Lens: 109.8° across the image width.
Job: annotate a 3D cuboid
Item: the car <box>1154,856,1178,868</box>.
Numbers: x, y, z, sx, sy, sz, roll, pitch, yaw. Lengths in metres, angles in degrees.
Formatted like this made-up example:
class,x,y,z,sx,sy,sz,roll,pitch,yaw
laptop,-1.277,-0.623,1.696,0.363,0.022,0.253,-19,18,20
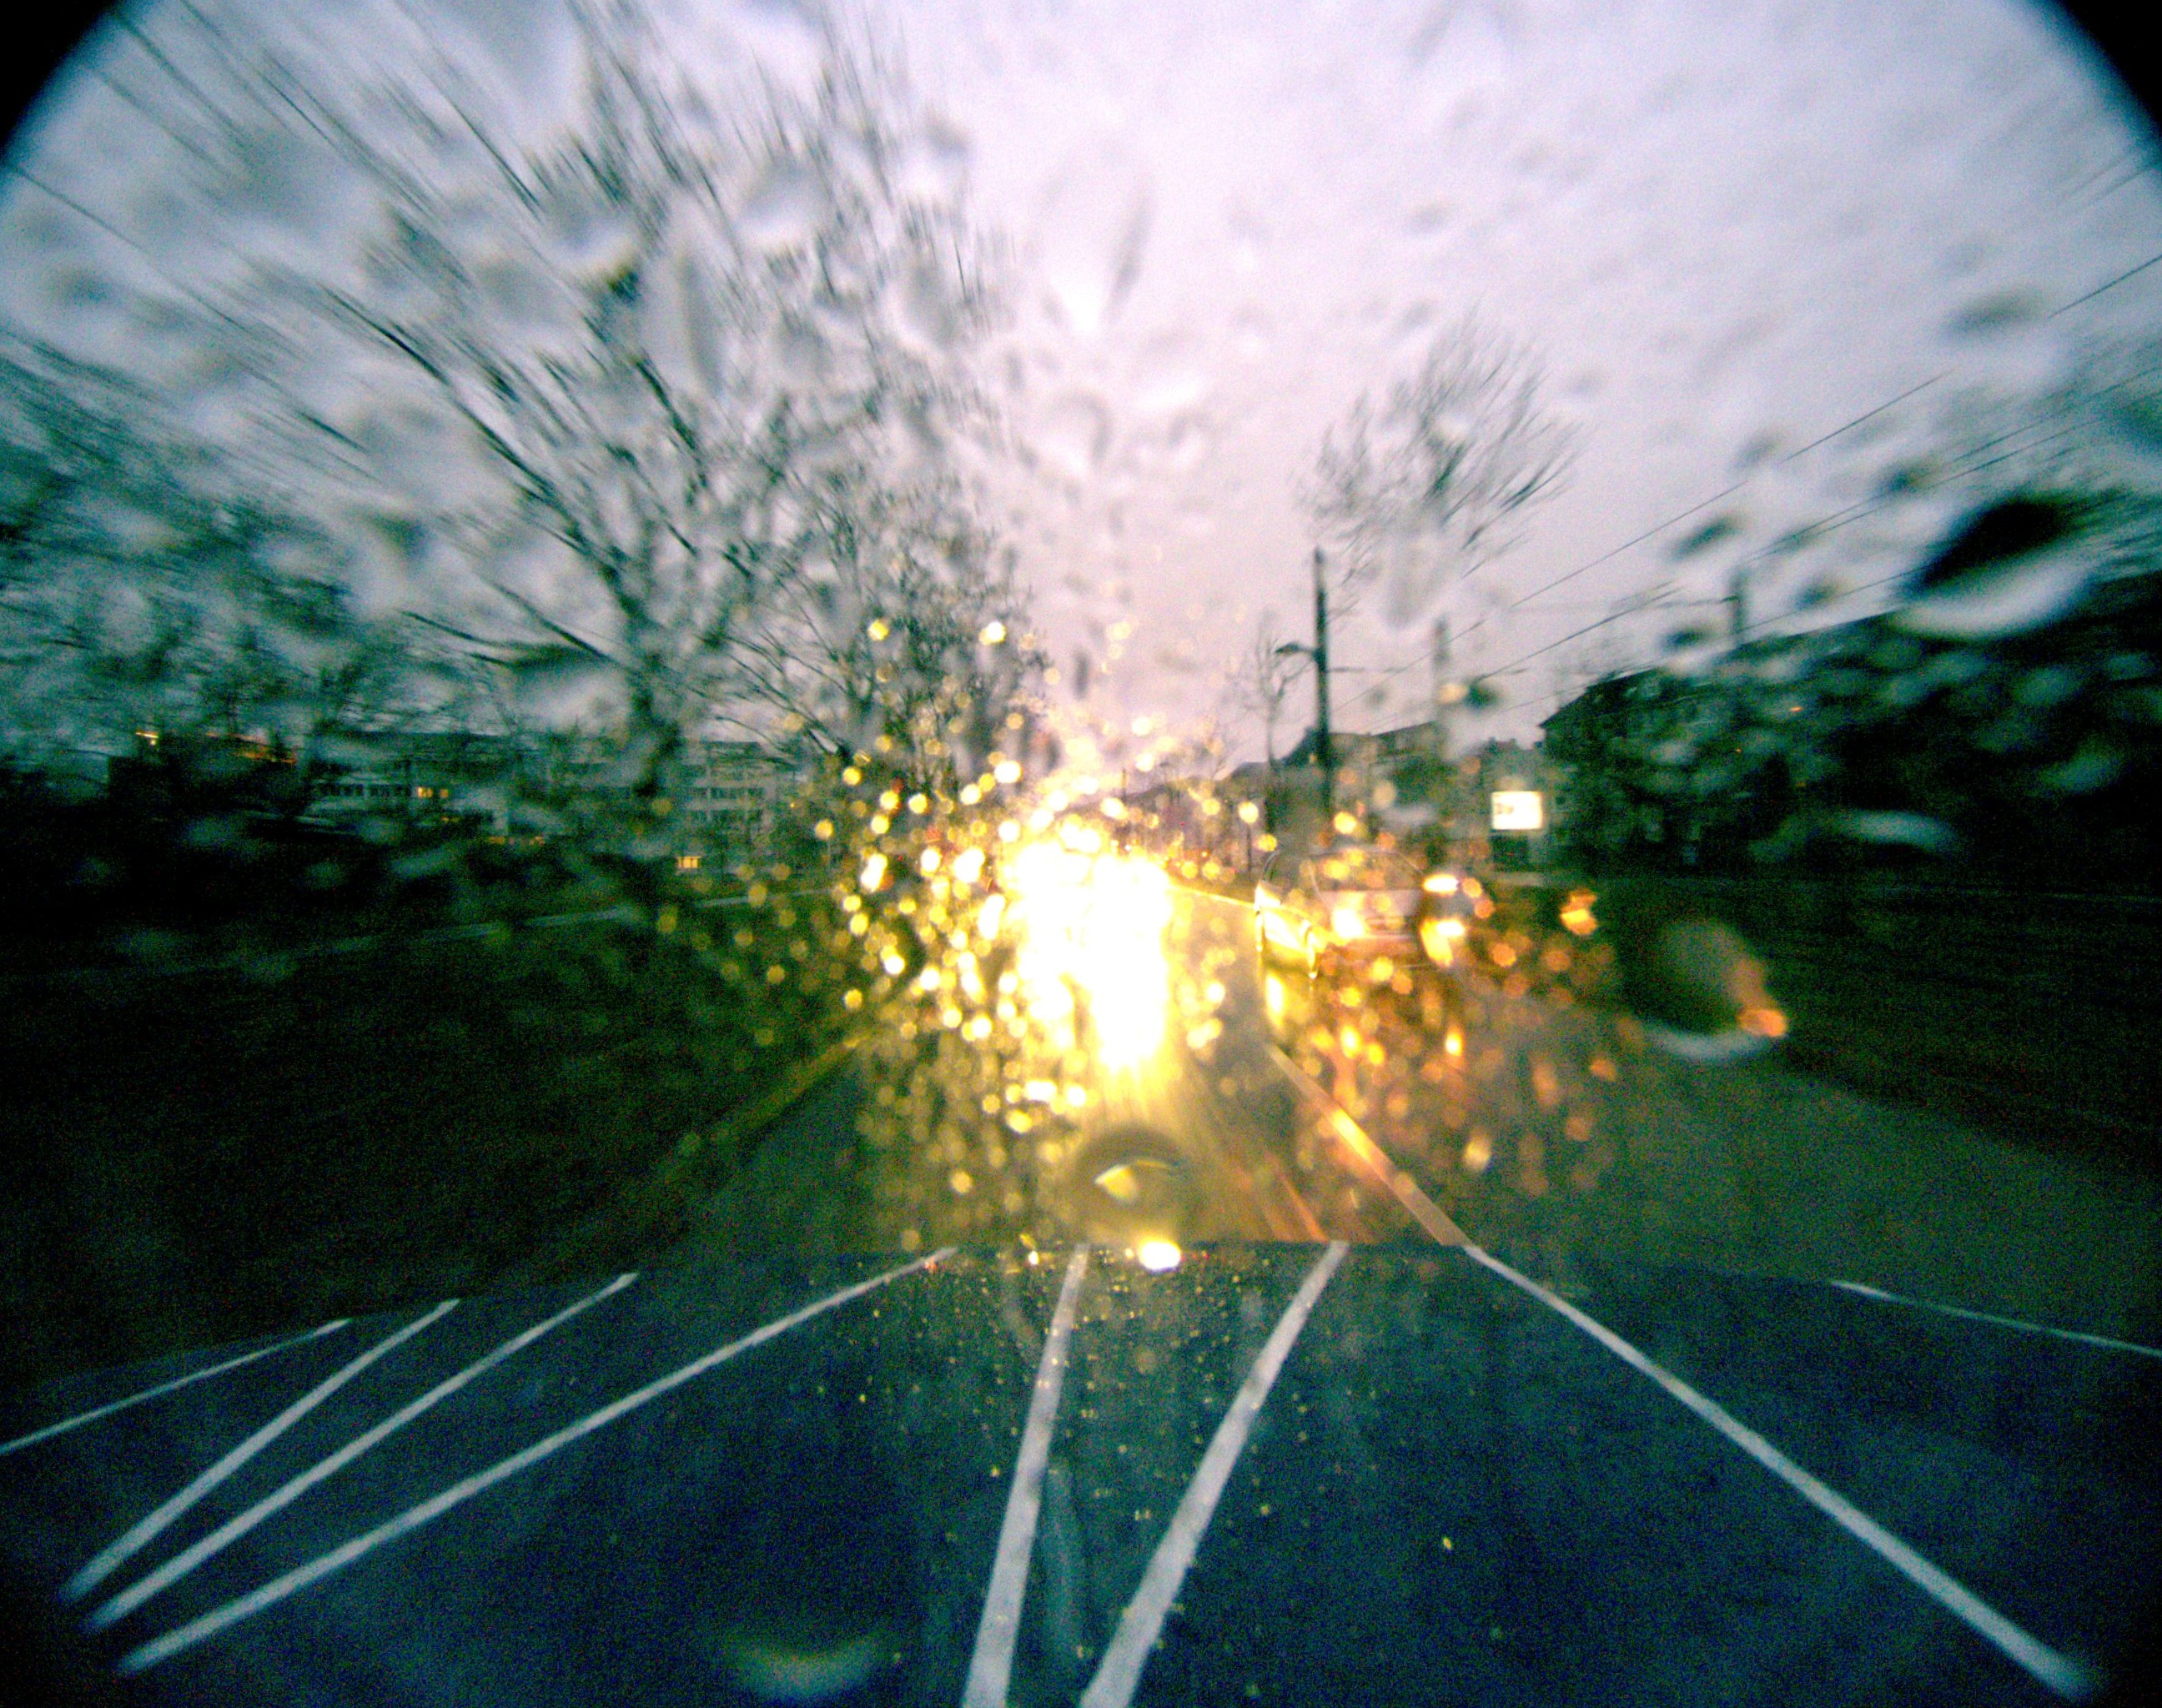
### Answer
class,x,y,z,sx,sy,sz,roll,pitch,yaw
car,10.742,1.000,96.035,1.898,1.347,4.286,-1,0,-9

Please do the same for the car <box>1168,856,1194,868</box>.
class,x,y,z,sx,sy,sz,roll,pitch,yaw
car,11.824,0.940,89.949,1.898,1.347,4.286,-1,0,-10

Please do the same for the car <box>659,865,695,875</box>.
class,x,y,z,sx,sy,sz,roll,pitch,yaw
car,-57.478,2.282,108.175,4.169,1.430,1.901,-1,0,-20

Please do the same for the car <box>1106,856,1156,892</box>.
class,x,y,z,sx,sy,sz,roll,pitch,yaw
car,2.299,0.892,35.936,1.924,1.546,4.216,-3,0,-1

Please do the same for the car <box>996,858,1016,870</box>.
class,x,y,z,sx,sy,sz,roll,pitch,yaw
car,-10.497,1.351,105.882,1.952,1.546,4.211,-3,0,-16

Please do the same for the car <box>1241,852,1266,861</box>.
class,x,y,z,sx,sy,sz,roll,pitch,yaw
car,30.562,0.445,134.467,3.901,1.467,1.776,-1,0,-12

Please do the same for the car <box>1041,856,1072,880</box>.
class,x,y,z,sx,sy,sz,roll,pitch,yaw
car,-1.735,0.951,53.038,1.950,1.546,4.215,-3,0,-4

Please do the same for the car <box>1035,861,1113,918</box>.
class,x,y,z,sx,sy,sz,roll,pitch,yaw
car,-0.188,0.902,20.893,1.897,1.347,4.289,-1,0,-1

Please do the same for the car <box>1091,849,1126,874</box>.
class,x,y,z,sx,sy,sz,roll,pitch,yaw
car,1.803,0.515,51.288,1.845,1.546,4.215,-3,0,-4

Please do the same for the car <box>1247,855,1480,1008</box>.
class,x,y,z,sx,sy,sz,roll,pitch,yaw
car,3.399,0.822,9.953,1.669,1.566,3.923,-1,0,2
